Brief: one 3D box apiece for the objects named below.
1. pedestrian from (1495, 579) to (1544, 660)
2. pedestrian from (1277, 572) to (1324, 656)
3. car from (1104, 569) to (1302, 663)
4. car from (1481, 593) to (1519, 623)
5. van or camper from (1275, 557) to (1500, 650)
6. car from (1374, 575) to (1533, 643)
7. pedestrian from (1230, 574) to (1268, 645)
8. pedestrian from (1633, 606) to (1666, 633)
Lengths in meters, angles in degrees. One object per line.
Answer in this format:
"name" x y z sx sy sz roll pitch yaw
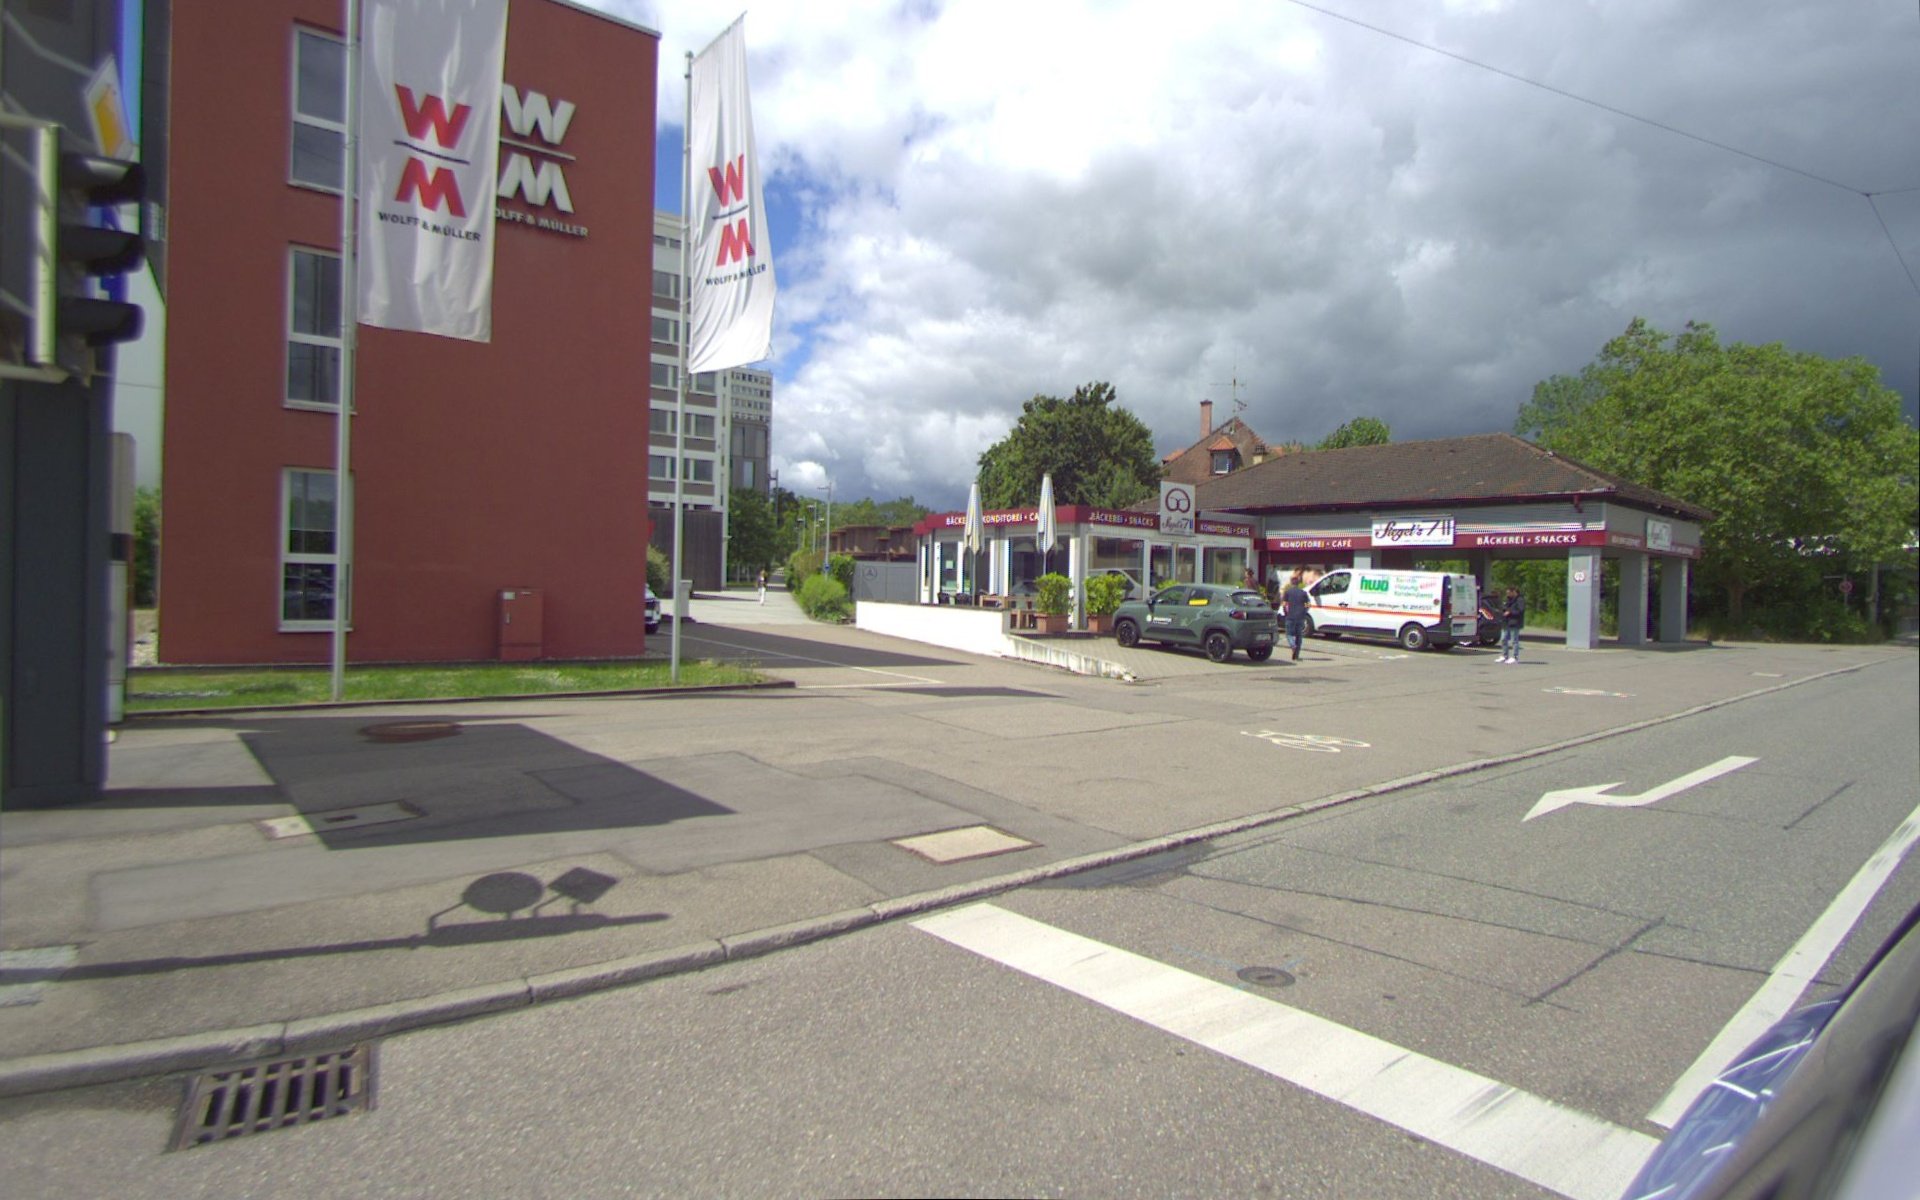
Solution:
"pedestrian" 12.198 0.407 22.071 0.726 1.729 0.714 1 0 -40
"pedestrian" 7.185 0.284 21.390 0.617 1.728 0.716 1 1 -13
"car" 4.974 0.255 21.138 1.730 1.503 3.679 0 6 -38
"car" 36.816 0.517 69.108 1.981 1.739 4.077 6 4 25
"van or camper" 11.037 -0.012 26.476 2.173 1.981 4.911 -1 5 -40
"car" 13.584 0.190 27.975 1.804 1.503 3.459 -1 6 -42
"pedestrian" 7.093 0.225 24.895 0.558 1.728 0.752 1 1 -13
"pedestrian" 33.355 0.962 48.966 0.945 1.264 0.888 1 0 -12
